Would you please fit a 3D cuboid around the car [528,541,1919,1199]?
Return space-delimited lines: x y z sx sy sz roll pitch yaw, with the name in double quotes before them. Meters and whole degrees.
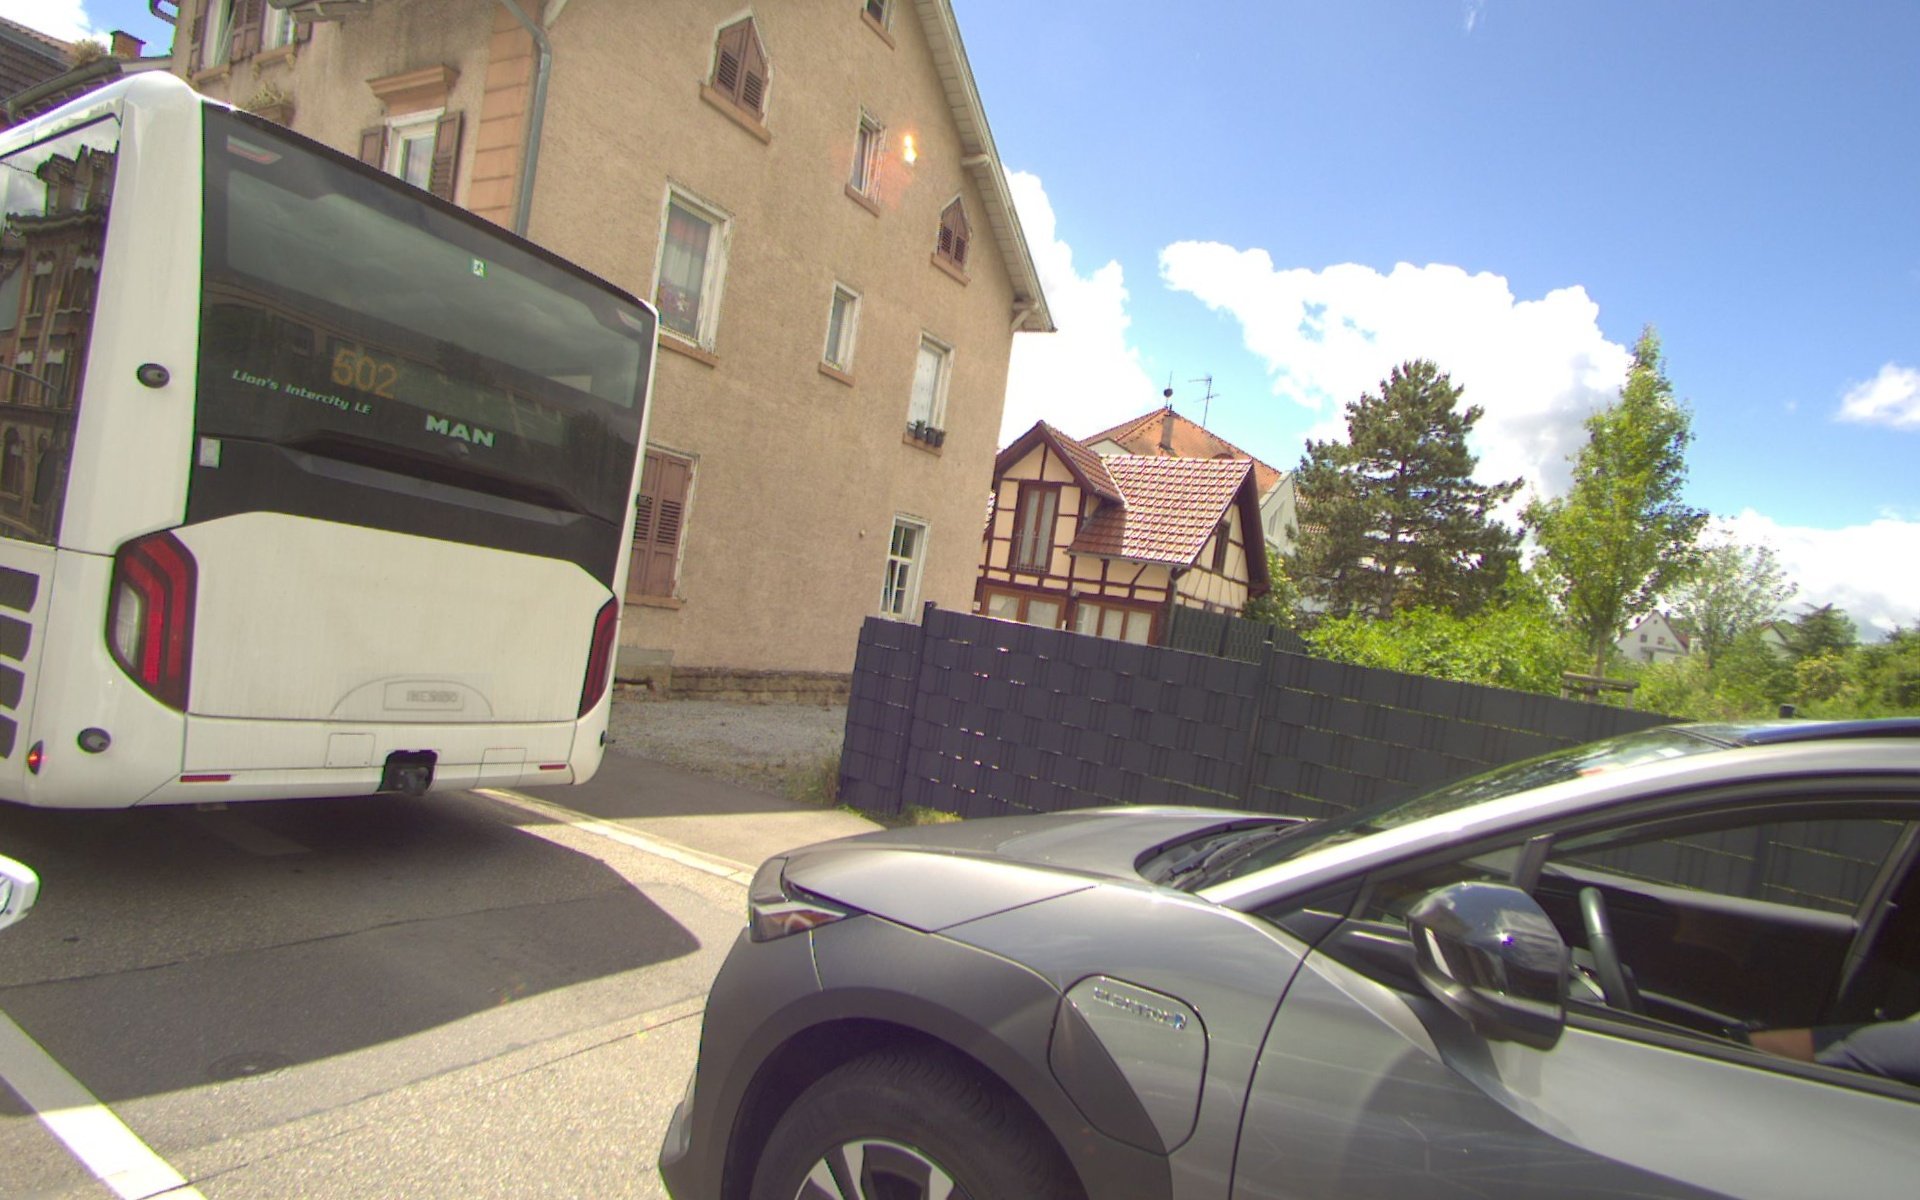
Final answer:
"car" 1.566 1.005 1.827 4.504 1.648 1.997 7 -1 31

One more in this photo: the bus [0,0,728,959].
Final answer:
"bus" -7.468 -1.005 7.711 12.281 3.551 2.910 6 -2 32
